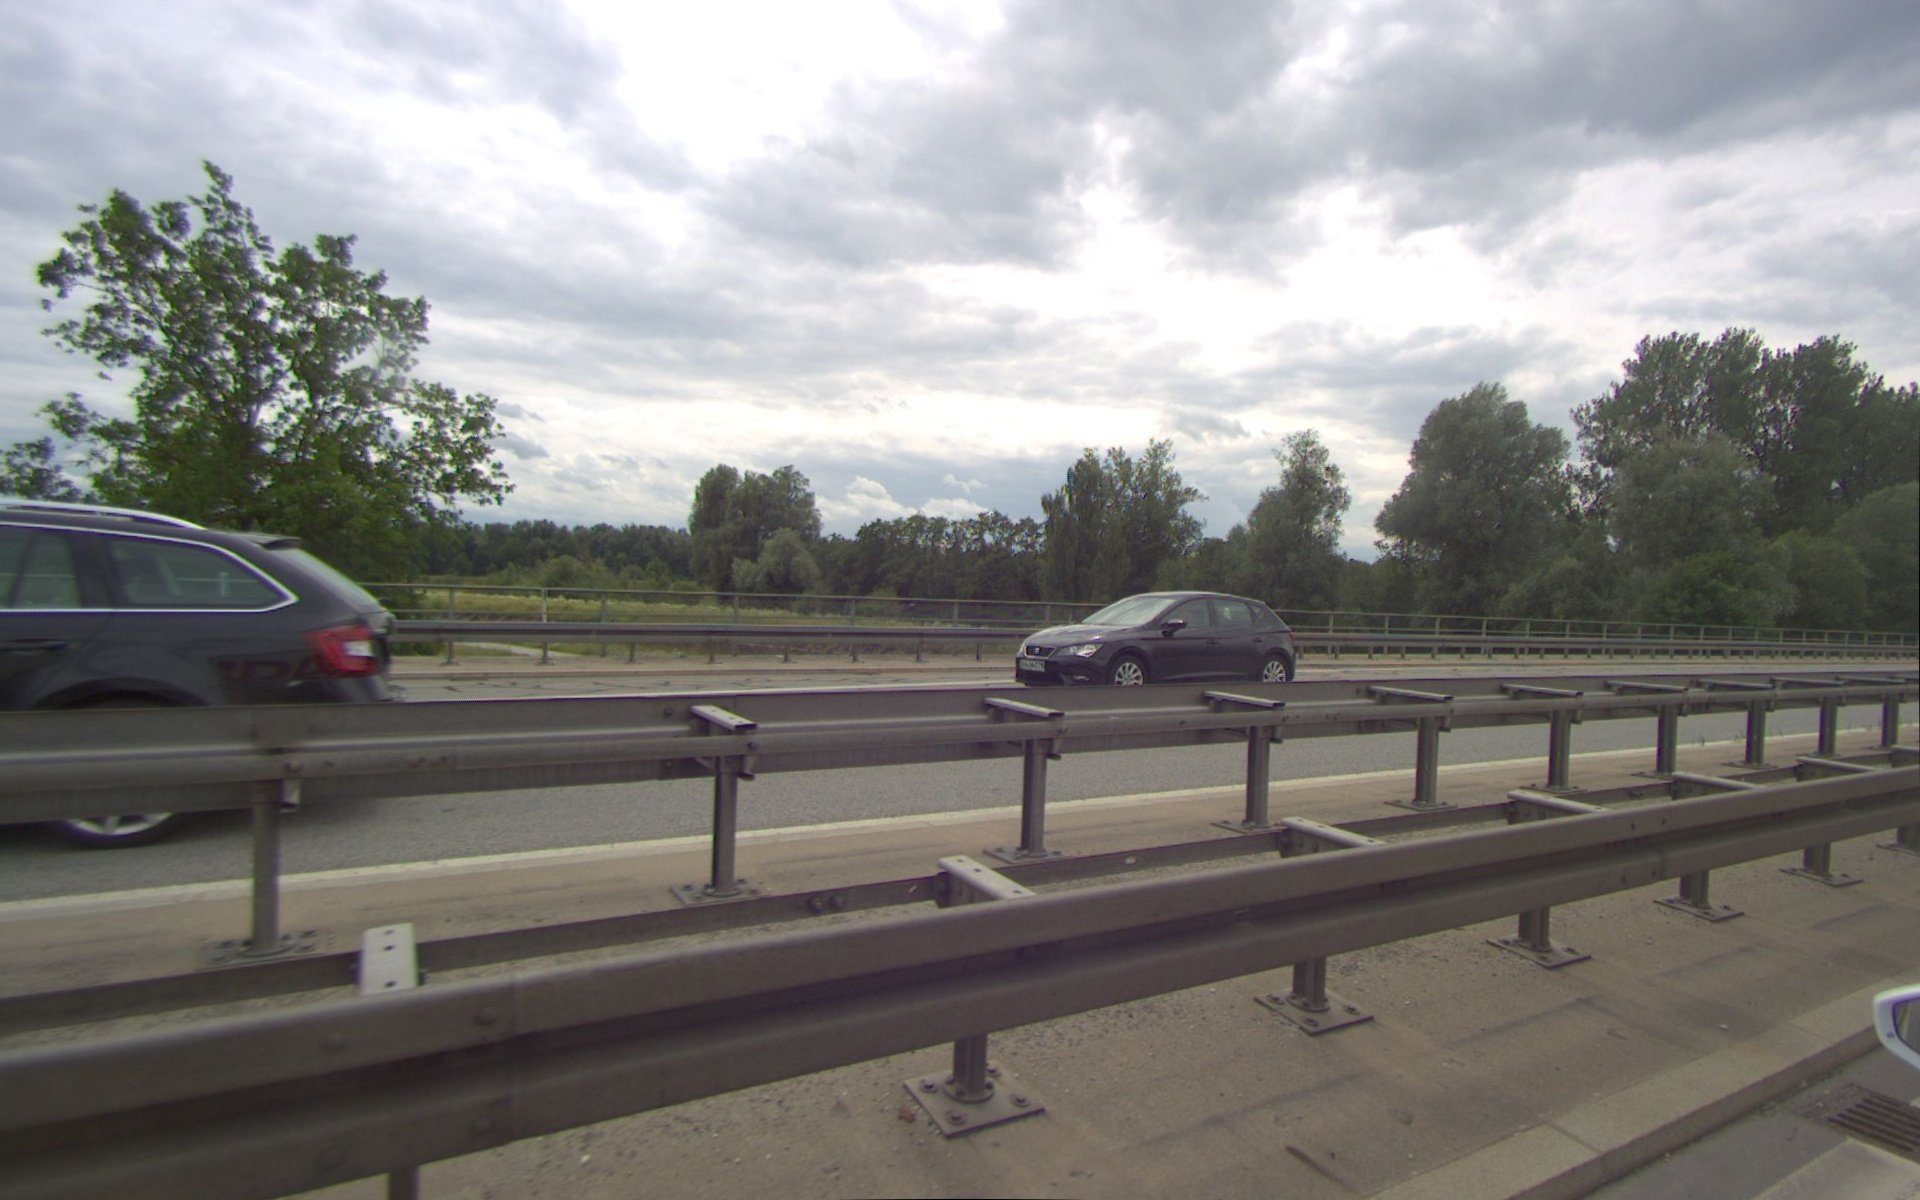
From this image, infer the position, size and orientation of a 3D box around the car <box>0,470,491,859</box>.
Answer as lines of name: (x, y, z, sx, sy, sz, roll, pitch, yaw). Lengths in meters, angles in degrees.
car: (-4.813, 0.241, 4.484, 4.779, 1.551, 1.832, 2, -1, -30)

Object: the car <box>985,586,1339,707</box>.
car: (2.838, 0.613, 13.807, 4.655, 1.422, 1.960, 2, -1, -30)
